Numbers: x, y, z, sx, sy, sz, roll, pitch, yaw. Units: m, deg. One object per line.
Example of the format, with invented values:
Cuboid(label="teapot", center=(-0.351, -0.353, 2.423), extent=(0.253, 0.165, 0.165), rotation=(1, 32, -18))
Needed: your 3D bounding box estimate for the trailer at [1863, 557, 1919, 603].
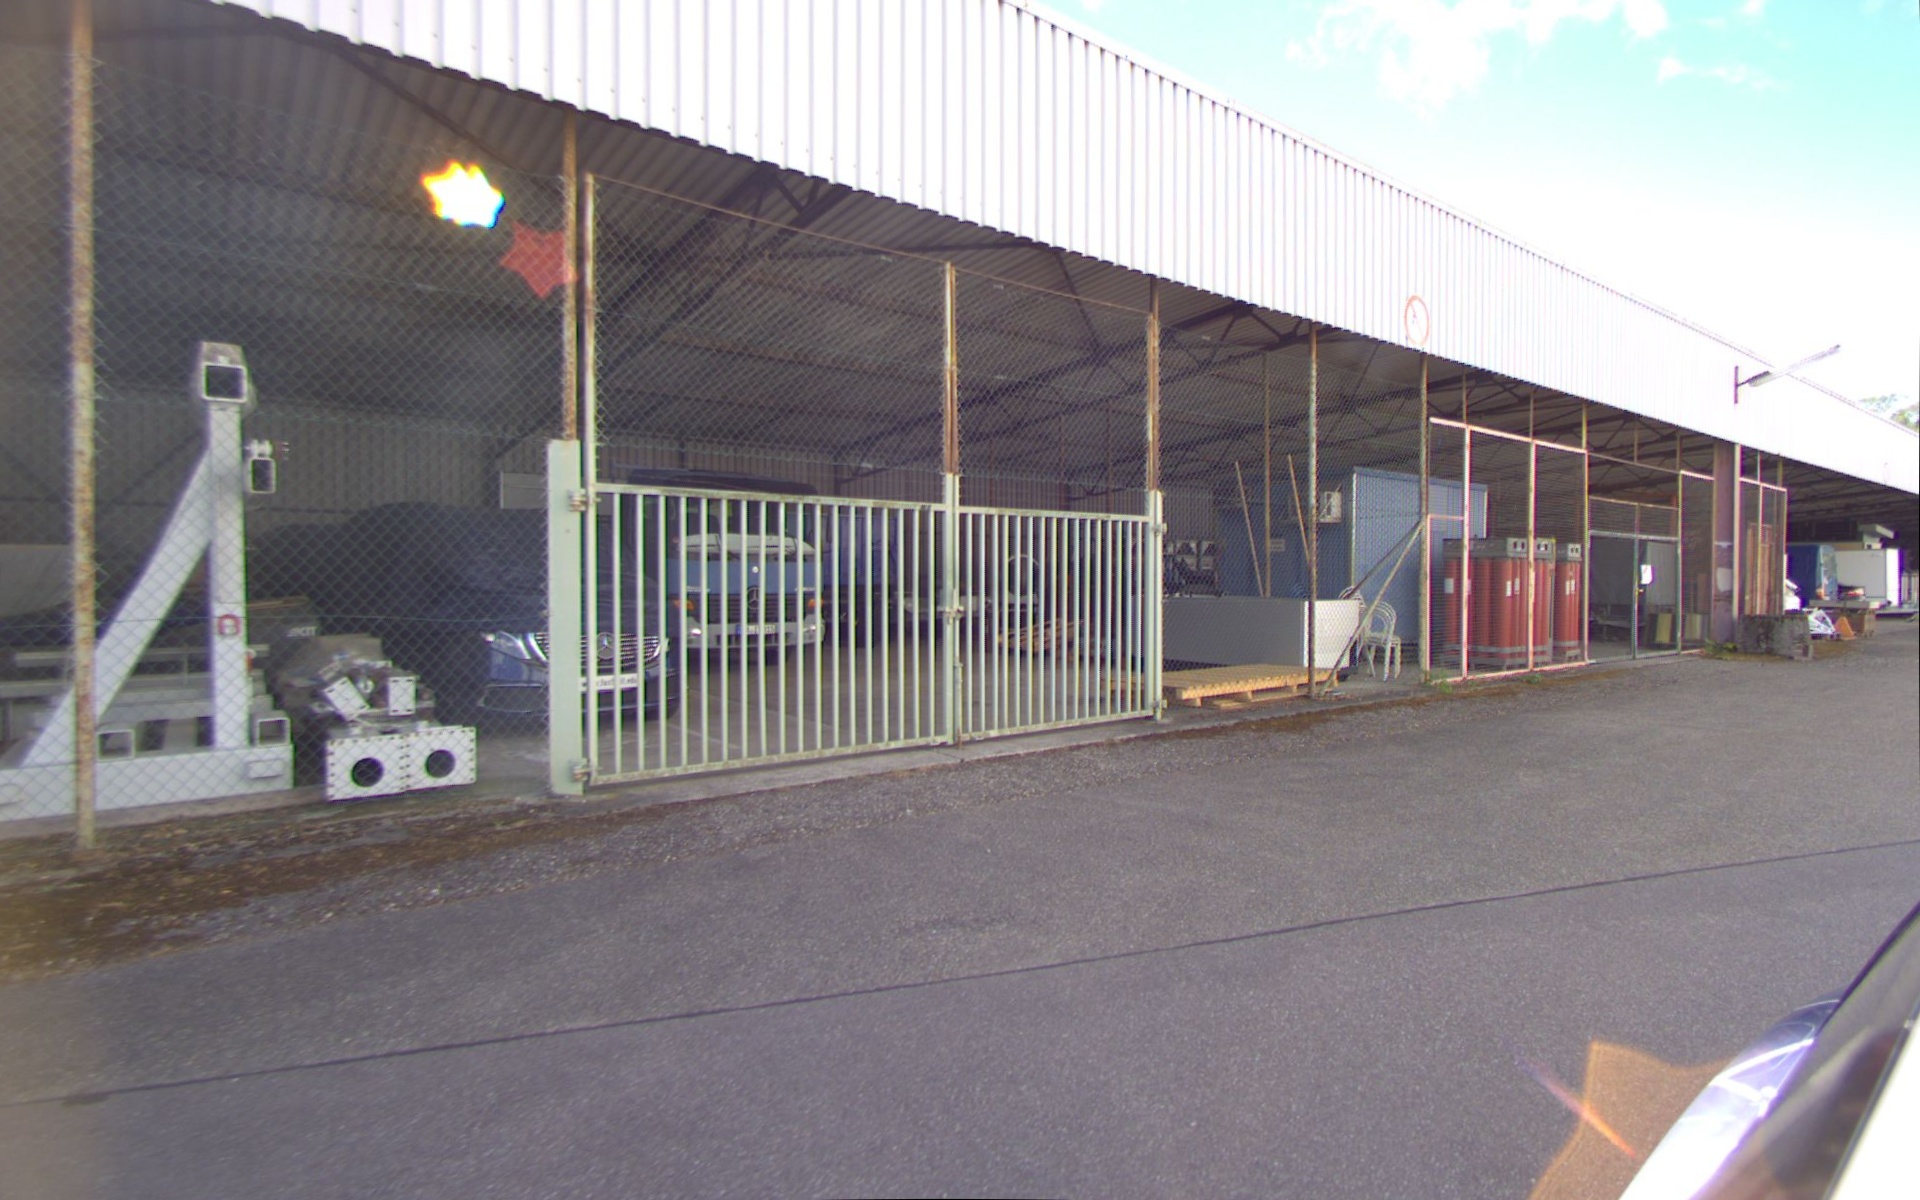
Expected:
Cuboid(label="trailer", center=(43.804, -0.872, 45.194), extent=(2.008, 2.021, 4.835), rotation=(-1, 3, -35))

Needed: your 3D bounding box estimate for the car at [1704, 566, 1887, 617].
Cuboid(label="car", center=(27.243, -0.344, 33.108), extent=(1.832, 1.451, 4.353), rotation=(-2, 4, -41))

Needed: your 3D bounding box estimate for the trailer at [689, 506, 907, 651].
Cuboid(label="trailer", center=(-2.840, -0.392, 17.248), extent=(2.418, 2.164, 3.416), rotation=(-1, 2, -36))

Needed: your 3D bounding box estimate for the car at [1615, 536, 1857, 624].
Cuboid(label="car", center=(22.353, -0.628, 29.387), extent=(2.046, 2.325, 5.230), rotation=(-1, 3, -38))

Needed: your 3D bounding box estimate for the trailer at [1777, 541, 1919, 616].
Cuboid(label="trailer", center=(30.160, -0.744, 33.483), extent=(1.657, 2.363, 4.556), rotation=(-1, 3, -37))

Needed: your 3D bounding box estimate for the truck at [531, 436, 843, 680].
Cuboid(label="truck", center=(-4.099, -0.579, 14.332), extent=(2.323, 2.739, 5.582), rotation=(-1, 2, -38))

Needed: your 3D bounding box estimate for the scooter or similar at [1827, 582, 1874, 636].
Cuboid(label="scooter or similar", center=(20.162, 0.192, 22.912), extent=(1.564, 1.148, 0.522), rotation=(-2, 3, -39))

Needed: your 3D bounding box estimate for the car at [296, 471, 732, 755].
Cuboid(label="car", center=(-4.477, 0.010, 9.613), extent=(2.240, 1.942, 5.172), rotation=(-2, 2, -43))

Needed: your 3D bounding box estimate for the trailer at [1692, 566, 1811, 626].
Cuboid(label="trailer", center=(21.026, -0.138, 26.917), extent=(1.610, 1.480, 2.102), rotation=(-2, 3, -35))

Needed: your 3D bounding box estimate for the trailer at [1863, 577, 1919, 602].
Cuboid(label="trailer", center=(46.271, -0.468, 47.358), extent=(1.973, 1.147, 5.748), rotation=(-1, 2, -39))

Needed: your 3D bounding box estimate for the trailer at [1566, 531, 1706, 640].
Cuboid(label="trailer", center=(14.528, -0.363, 21.698), extent=(3.460, 2.169, 1.580), rotation=(-2, 3, -41))

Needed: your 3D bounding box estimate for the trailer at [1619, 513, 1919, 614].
Cuboid(label="trailer", center=(30.507, -1.413, 37.106), extent=(2.626, 3.335, 10.326), rotation=(-1, 3, -37))
